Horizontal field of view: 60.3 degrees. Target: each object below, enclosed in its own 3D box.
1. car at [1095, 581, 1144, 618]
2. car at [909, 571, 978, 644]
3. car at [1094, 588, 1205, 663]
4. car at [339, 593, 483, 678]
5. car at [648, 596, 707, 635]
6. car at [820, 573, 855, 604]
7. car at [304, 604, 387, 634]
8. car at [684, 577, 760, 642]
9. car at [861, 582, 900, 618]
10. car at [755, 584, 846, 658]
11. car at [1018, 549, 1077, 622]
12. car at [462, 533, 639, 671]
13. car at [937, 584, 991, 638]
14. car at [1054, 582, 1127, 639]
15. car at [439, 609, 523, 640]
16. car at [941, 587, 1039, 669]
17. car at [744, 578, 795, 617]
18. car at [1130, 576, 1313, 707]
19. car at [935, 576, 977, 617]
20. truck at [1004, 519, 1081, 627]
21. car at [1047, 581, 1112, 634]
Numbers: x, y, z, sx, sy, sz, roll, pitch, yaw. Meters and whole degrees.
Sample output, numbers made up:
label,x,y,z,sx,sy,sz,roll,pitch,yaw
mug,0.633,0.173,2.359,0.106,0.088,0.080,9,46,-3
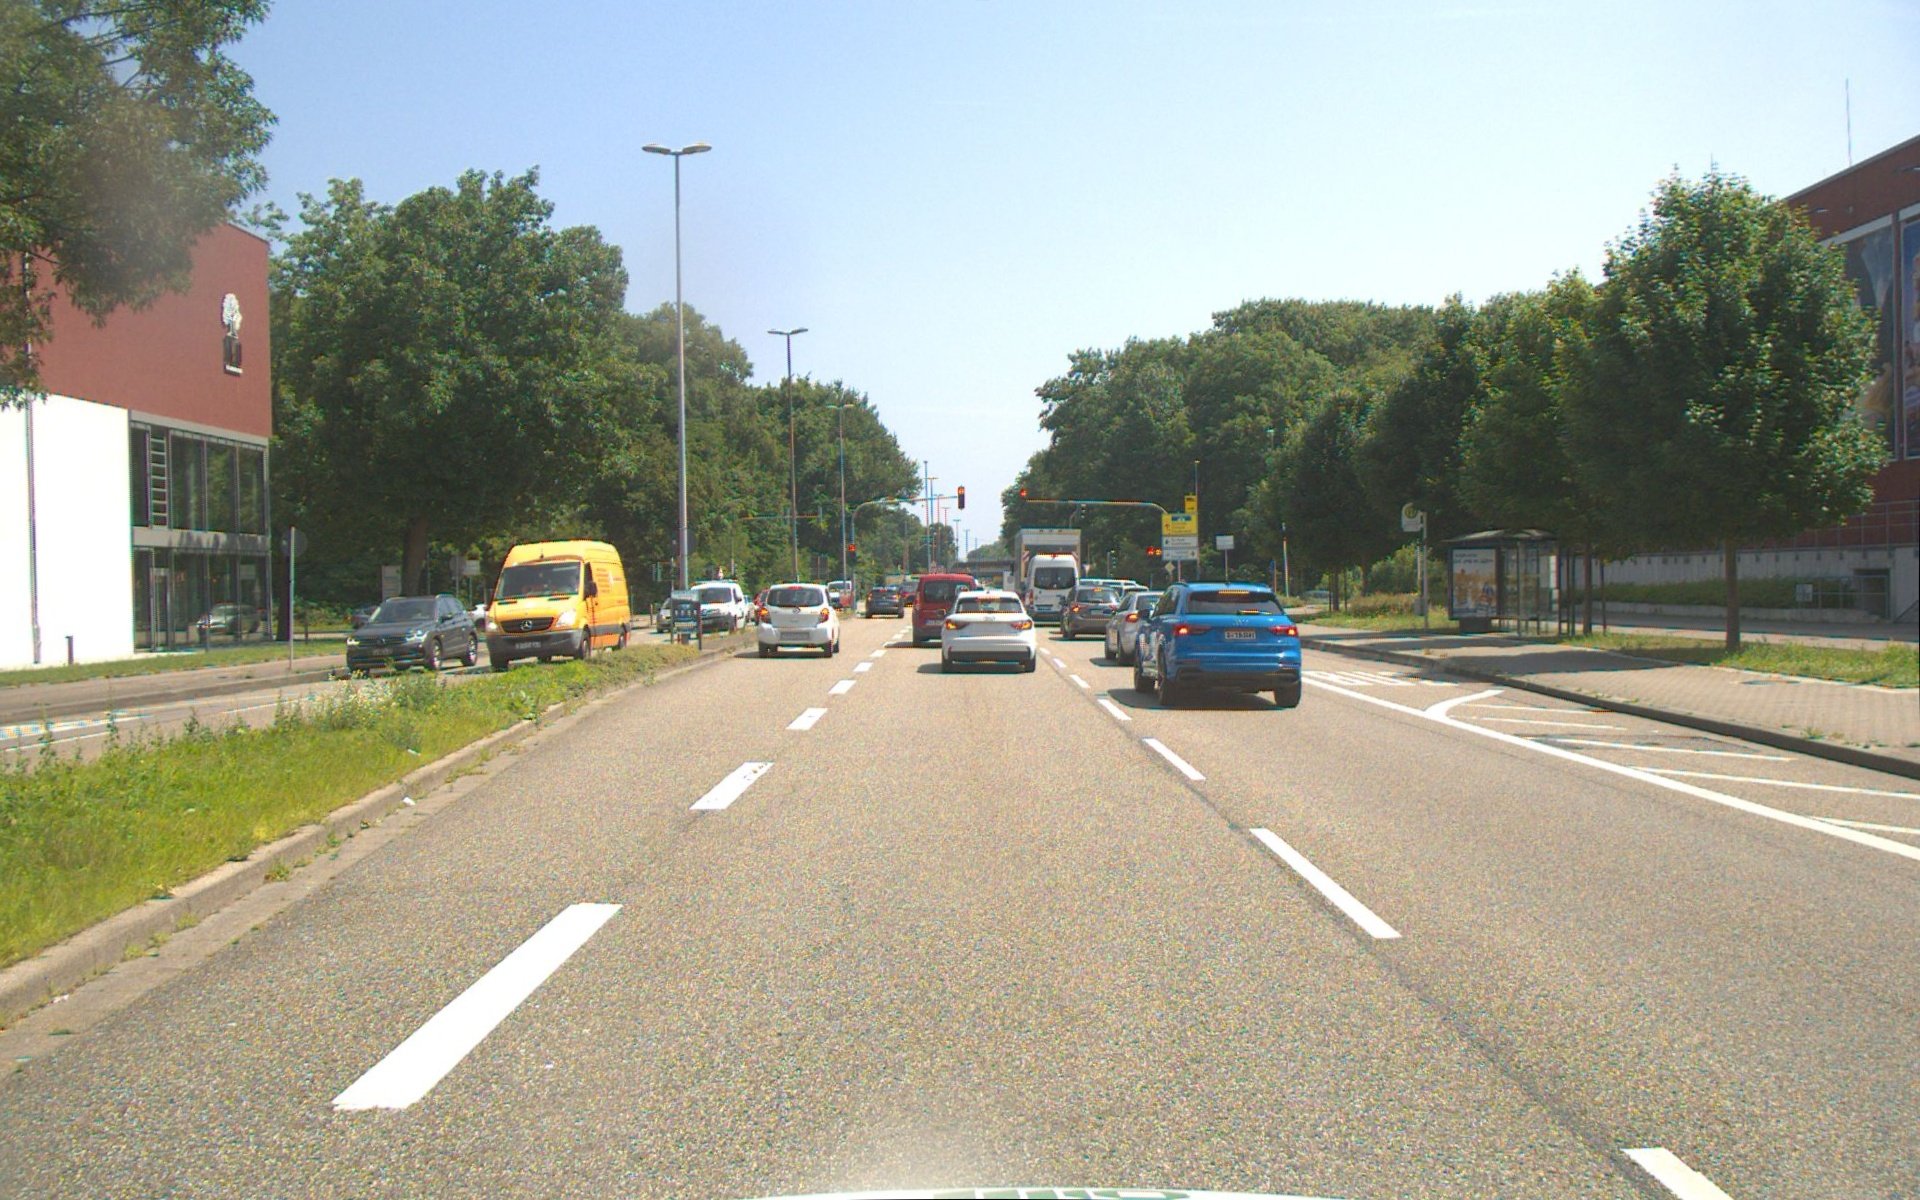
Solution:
label,x,y,z,sx,sy,sz,roll,pitch,yaw
car,6.981,-0.039,72.507,1.677,1.573,4.091,0,0,-1
car,-0.446,0.163,42.290,1.677,1.779,4.091,0,0,-1
car,3.755,0.465,33.323,1.677,1.386,4.091,1,0,-1
car,-12.027,0.724,36.508,1.681,1.631,4.213,-4,1,0
car,-11.886,0.619,69.726,1.713,1.476,4.133,-4,1,0
car,-8.389,-0.786,113.674,1.953,1.979,4.907,-3,1,-1
car,-35.926,1.085,96.765,4.292,1.711,1.806,1,-1,-11
car,-7.803,0.279,54.550,1.814,1.938,4.425,-4,1,-1
car,-3.759,-0.013,78.525,1.738,1.670,4.036,0,0,-1
car,-3.456,0.418,36.465,1.677,1.519,4.091,0,0,-1
car,3.344,-0.553,63.878,1.989,2.690,4.845,0,0,0
car,-8.698,0.003,35.772,2.219,2.612,6.057,-3,1,0
car,0.098,0.331,53.786,1.677,1.660,4.091,0,0,-1
car,3.743,0.278,48.045,1.677,1.504,4.091,2,0,-1
car,-27.079,1.365,93.619,4.288,1.711,1.807,0,0,-8
car,0.499,0.477,30.820,1.677,1.410,4.091,0,0,-1
car,-8.487,-0.125,73.909,1.713,1.597,4.153,-4,1,0
car,3.487,0.494,22.820,1.800,1.623,4.400,-1,1,0
car,-0.201,-0.148,70.023,1.677,1.660,4.091,0,0,-1
truck,3.612,-1.182,75.154,3.025,4.511,11.580,0,0,0
car,3.788,0.218,52.990,1.677,1.621,4.091,0,0,-1
